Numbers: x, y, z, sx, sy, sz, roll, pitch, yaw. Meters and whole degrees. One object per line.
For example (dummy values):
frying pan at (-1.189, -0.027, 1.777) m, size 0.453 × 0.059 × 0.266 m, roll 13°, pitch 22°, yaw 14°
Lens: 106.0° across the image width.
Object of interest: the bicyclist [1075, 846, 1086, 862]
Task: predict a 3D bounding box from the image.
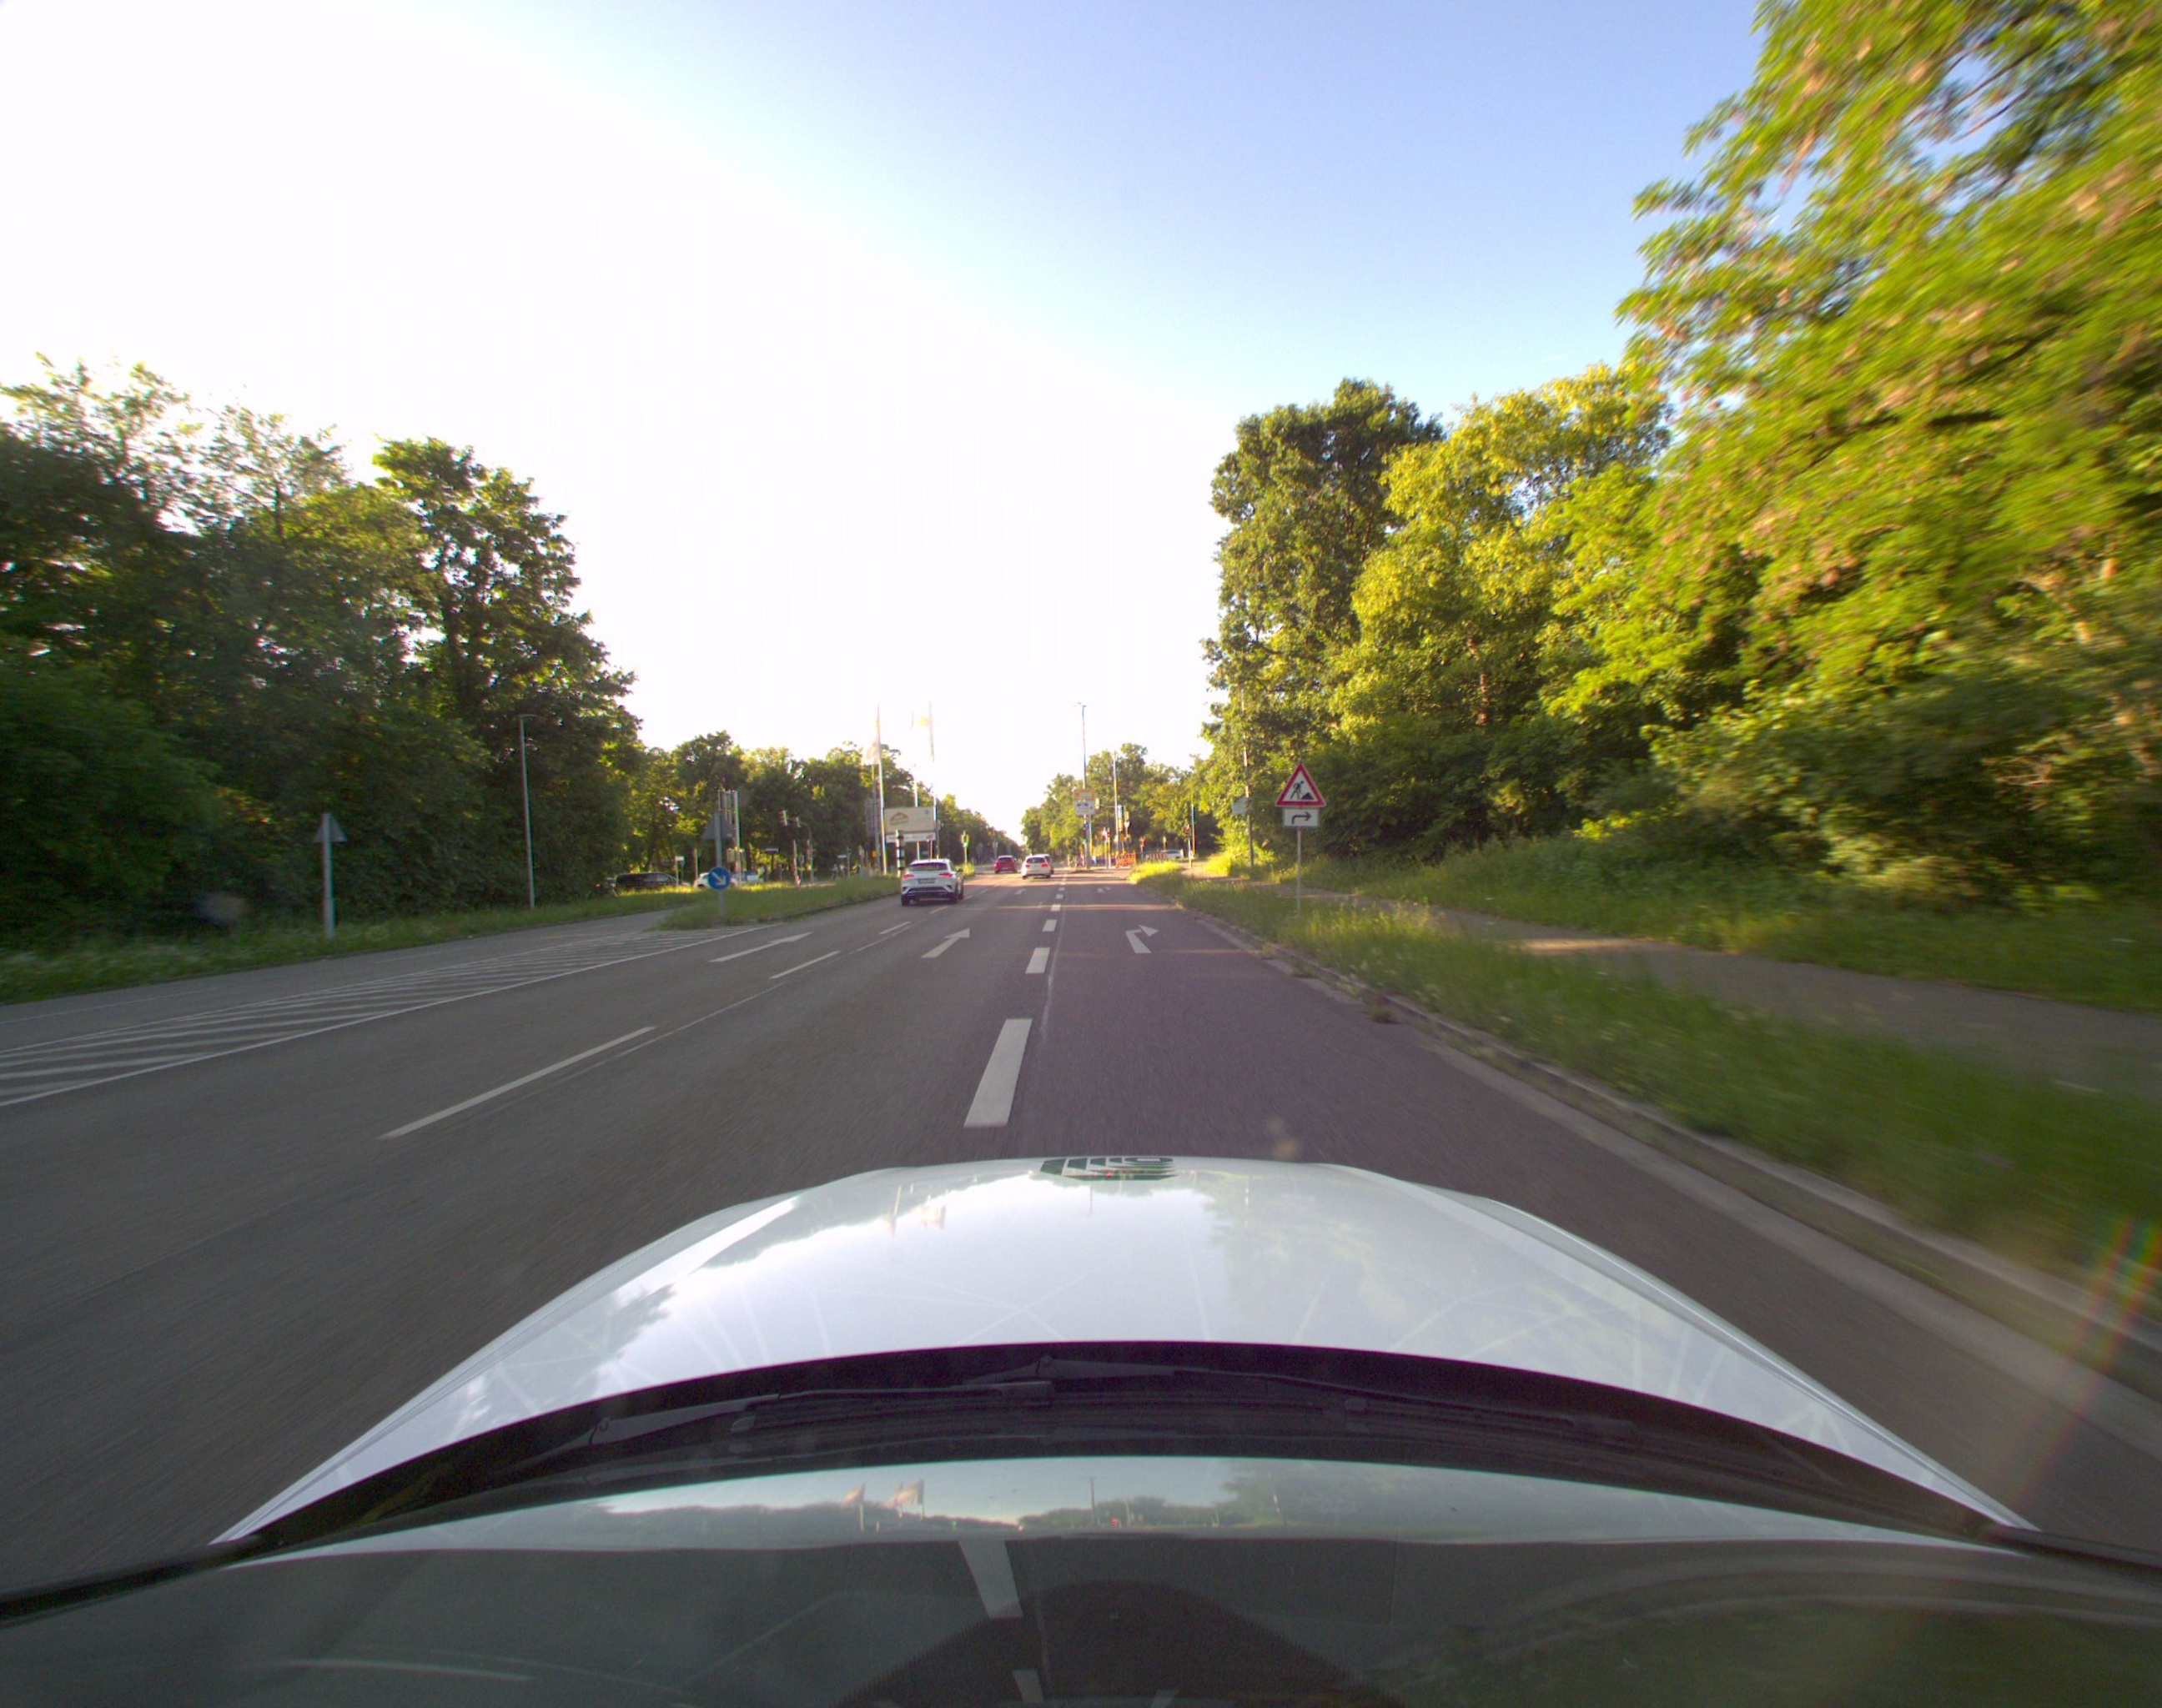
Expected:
bicyclist at (-0.070, -0.024, 100.459) m, size 1.020 × 1.929 × 0.958 m, roll -2°, pitch 0°, yaw -33°

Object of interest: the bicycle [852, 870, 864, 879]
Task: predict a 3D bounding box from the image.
bicycle at (-23.613, 2.145, 86.248) m, size 0.712 × 0.914 × 1.912 m, roll -3°, pitch 0°, yaw 2°

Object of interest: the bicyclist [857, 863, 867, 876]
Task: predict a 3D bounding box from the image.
bicyclist at (-23.614, 1.697, 87.883) m, size 0.712 × 1.342 × 0.991 m, roll -3°, pitch 0°, yaw 2°

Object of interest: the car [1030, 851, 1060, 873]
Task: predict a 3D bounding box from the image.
car at (-2.765, 0.618, 62.023) m, size 1.991 × 1.536 × 3.993 m, roll -3°, pitch 0°, yaw -5°

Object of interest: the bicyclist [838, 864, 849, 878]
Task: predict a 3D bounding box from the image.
bicyclist at (-24.878, 1.769, 85.342) m, size 0.708 × 1.389 × 0.991 m, roll -3°, pitch 0°, yaw 2°

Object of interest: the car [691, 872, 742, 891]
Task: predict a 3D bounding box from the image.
car at (-30.810, 2.308, 68.866) m, size 3.808 × 1.389 × 1.911 m, roll -3°, pitch 0°, yaw -27°

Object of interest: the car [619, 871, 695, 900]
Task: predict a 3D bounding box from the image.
car at (-31.726, 2.311, 61.108) m, size 4.945 × 1.829 × 1.911 m, roll -3°, pitch 0°, yaw -27°

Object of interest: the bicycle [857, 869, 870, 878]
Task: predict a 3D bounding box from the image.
bicycle at (-23.574, 2.136, 88.340) m, size 0.712 × 0.914 × 1.912 m, roll -3°, pitch 0°, yaw 2°

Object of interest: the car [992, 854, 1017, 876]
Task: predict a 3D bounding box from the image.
car at (-6.392, 0.874, 68.278) m, size 1.991 × 1.684 × 3.993 m, roll -3°, pitch 0°, yaw -5°

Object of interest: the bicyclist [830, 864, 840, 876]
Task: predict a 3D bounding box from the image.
bicyclist at (-25.786, 1.698, 85.428) m, size 0.712 × 1.192 × 0.991 m, roll -3°, pitch 0°, yaw 2°

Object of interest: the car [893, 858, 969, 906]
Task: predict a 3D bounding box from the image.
car at (-5.010, 0.885, 27.770) m, size 1.858 × 1.444 × 3.998 m, roll -2°, pitch 0°, yaw -1°

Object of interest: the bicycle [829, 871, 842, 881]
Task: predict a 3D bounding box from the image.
bicycle at (-25.754, 2.290, 85.426) m, size 0.712 × 0.914 × 1.912 m, roll -3°, pitch 1°, yaw 2°

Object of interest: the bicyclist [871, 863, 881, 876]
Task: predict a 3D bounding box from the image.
bicyclist at (-21.755, 1.649, 86.287) m, size 0.712 × 1.339 × 0.991 m, roll -3°, pitch 0°, yaw 2°

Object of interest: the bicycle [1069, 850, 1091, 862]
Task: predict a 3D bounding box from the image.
bicycle at (-0.130, 0.274, 100.404) m, size 2.650 × 1.383 × 0.958 m, roll -2°, pitch 0°, yaw -34°

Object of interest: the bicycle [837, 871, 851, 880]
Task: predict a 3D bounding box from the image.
bicycle at (-24.848, 2.250, 85.375) m, size 0.712 × 0.914 × 1.912 m, roll -3°, pitch 0°, yaw 2°

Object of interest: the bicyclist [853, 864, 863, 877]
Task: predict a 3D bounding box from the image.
bicyclist at (-23.634, 1.712, 86.245) m, size 0.712 × 1.355 × 0.991 m, roll -3°, pitch 0°, yaw 2°

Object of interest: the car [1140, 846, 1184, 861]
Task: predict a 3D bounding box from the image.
car at (9.622, -0.044, 97.118) m, size 4.839 × 1.580 × 1.985 m, roll -3°, pitch 0°, yaw -23°

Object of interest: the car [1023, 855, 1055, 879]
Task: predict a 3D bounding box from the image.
car at (-2.740, 0.818, 53.339) m, size 1.935 × 1.414 × 3.997 m, roll -3°, pitch 0°, yaw -2°
